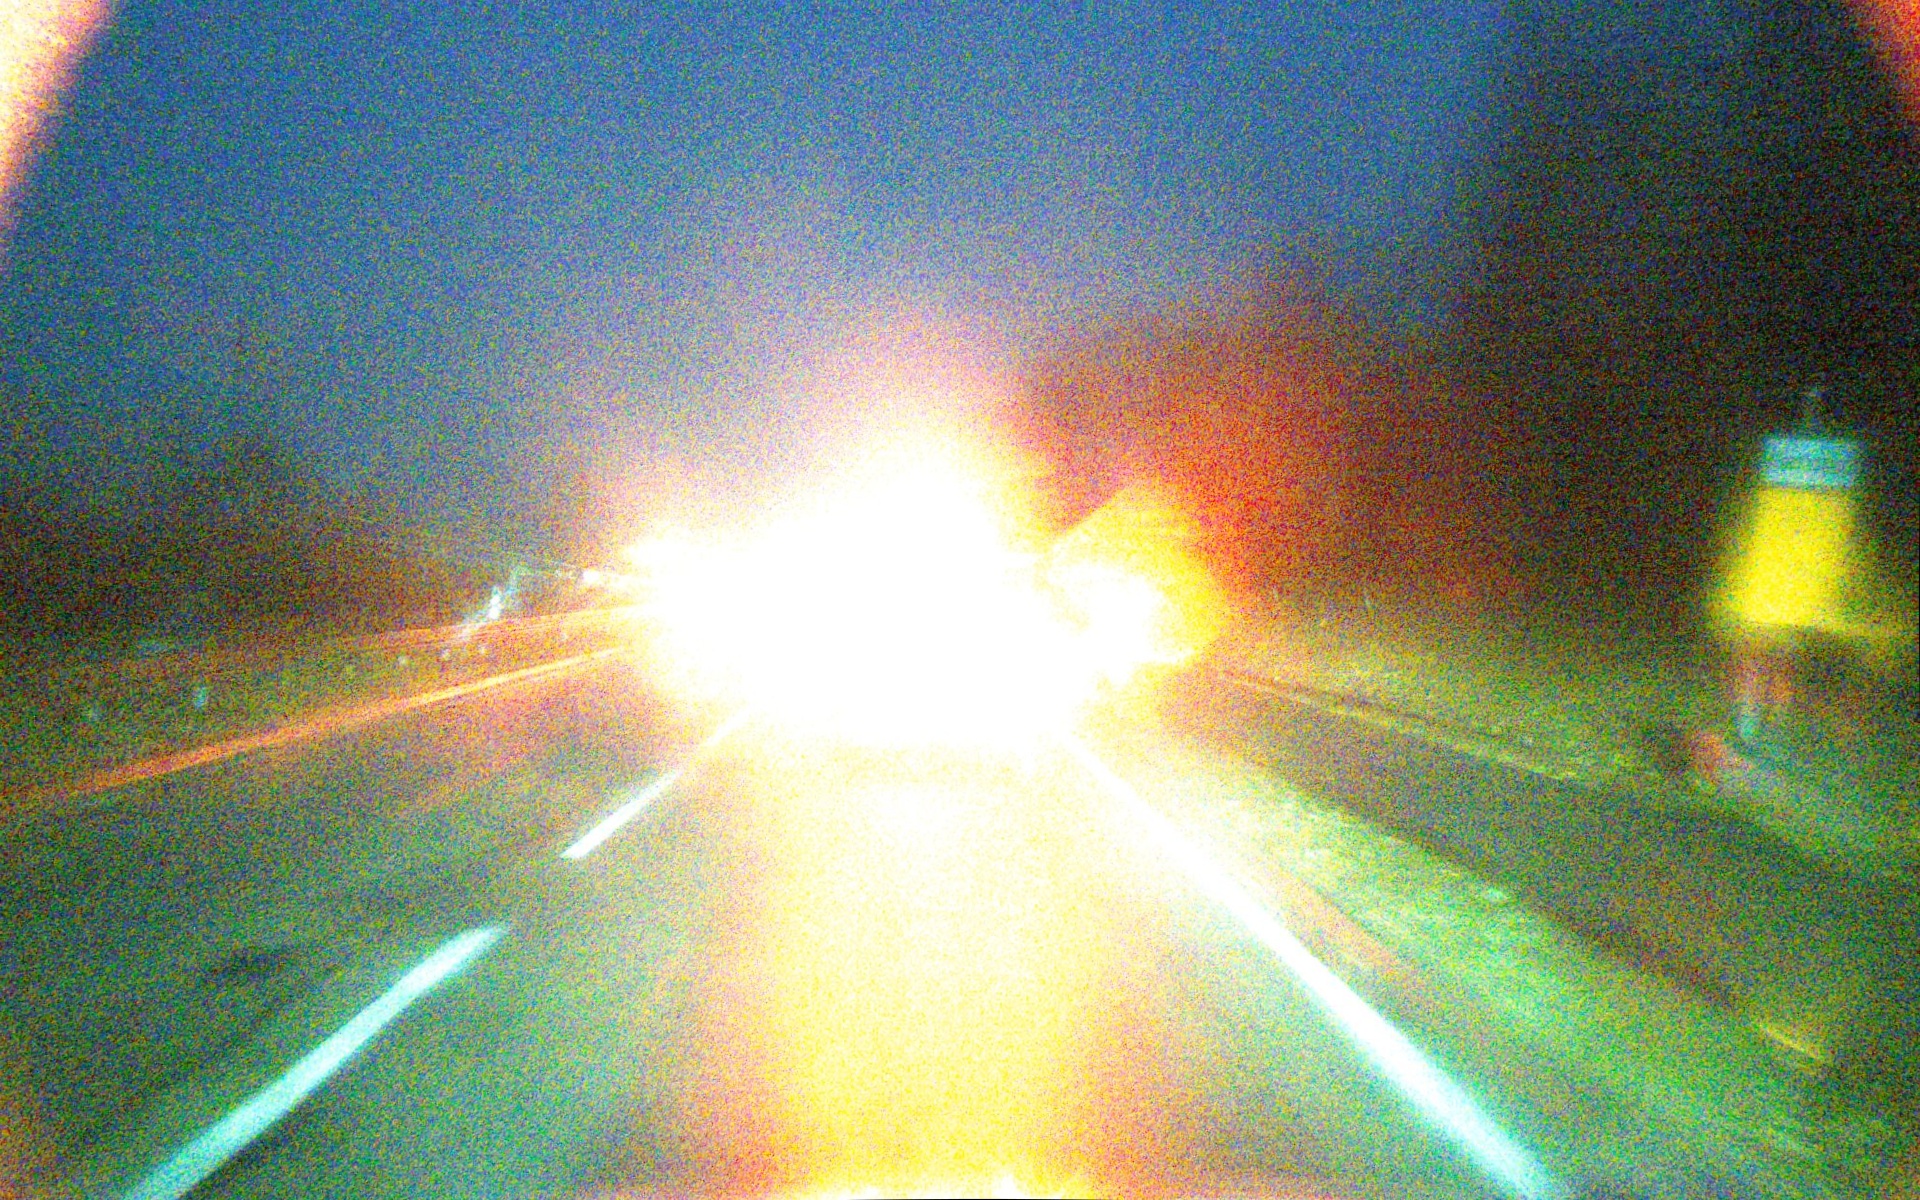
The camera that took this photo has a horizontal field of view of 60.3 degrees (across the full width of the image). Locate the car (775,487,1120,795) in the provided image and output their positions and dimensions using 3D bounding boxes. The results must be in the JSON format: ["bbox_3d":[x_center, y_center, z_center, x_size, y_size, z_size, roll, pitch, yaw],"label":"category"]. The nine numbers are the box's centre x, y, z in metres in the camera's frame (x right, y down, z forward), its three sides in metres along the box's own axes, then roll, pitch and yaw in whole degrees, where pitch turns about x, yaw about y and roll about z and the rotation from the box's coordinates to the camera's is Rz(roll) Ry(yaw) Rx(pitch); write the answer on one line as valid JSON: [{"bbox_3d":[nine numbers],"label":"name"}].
[{"bbox_3d":[-0.206,0.316,16.057,2.661,2.348,6.098,2,0,-2],"label":"car"}]
